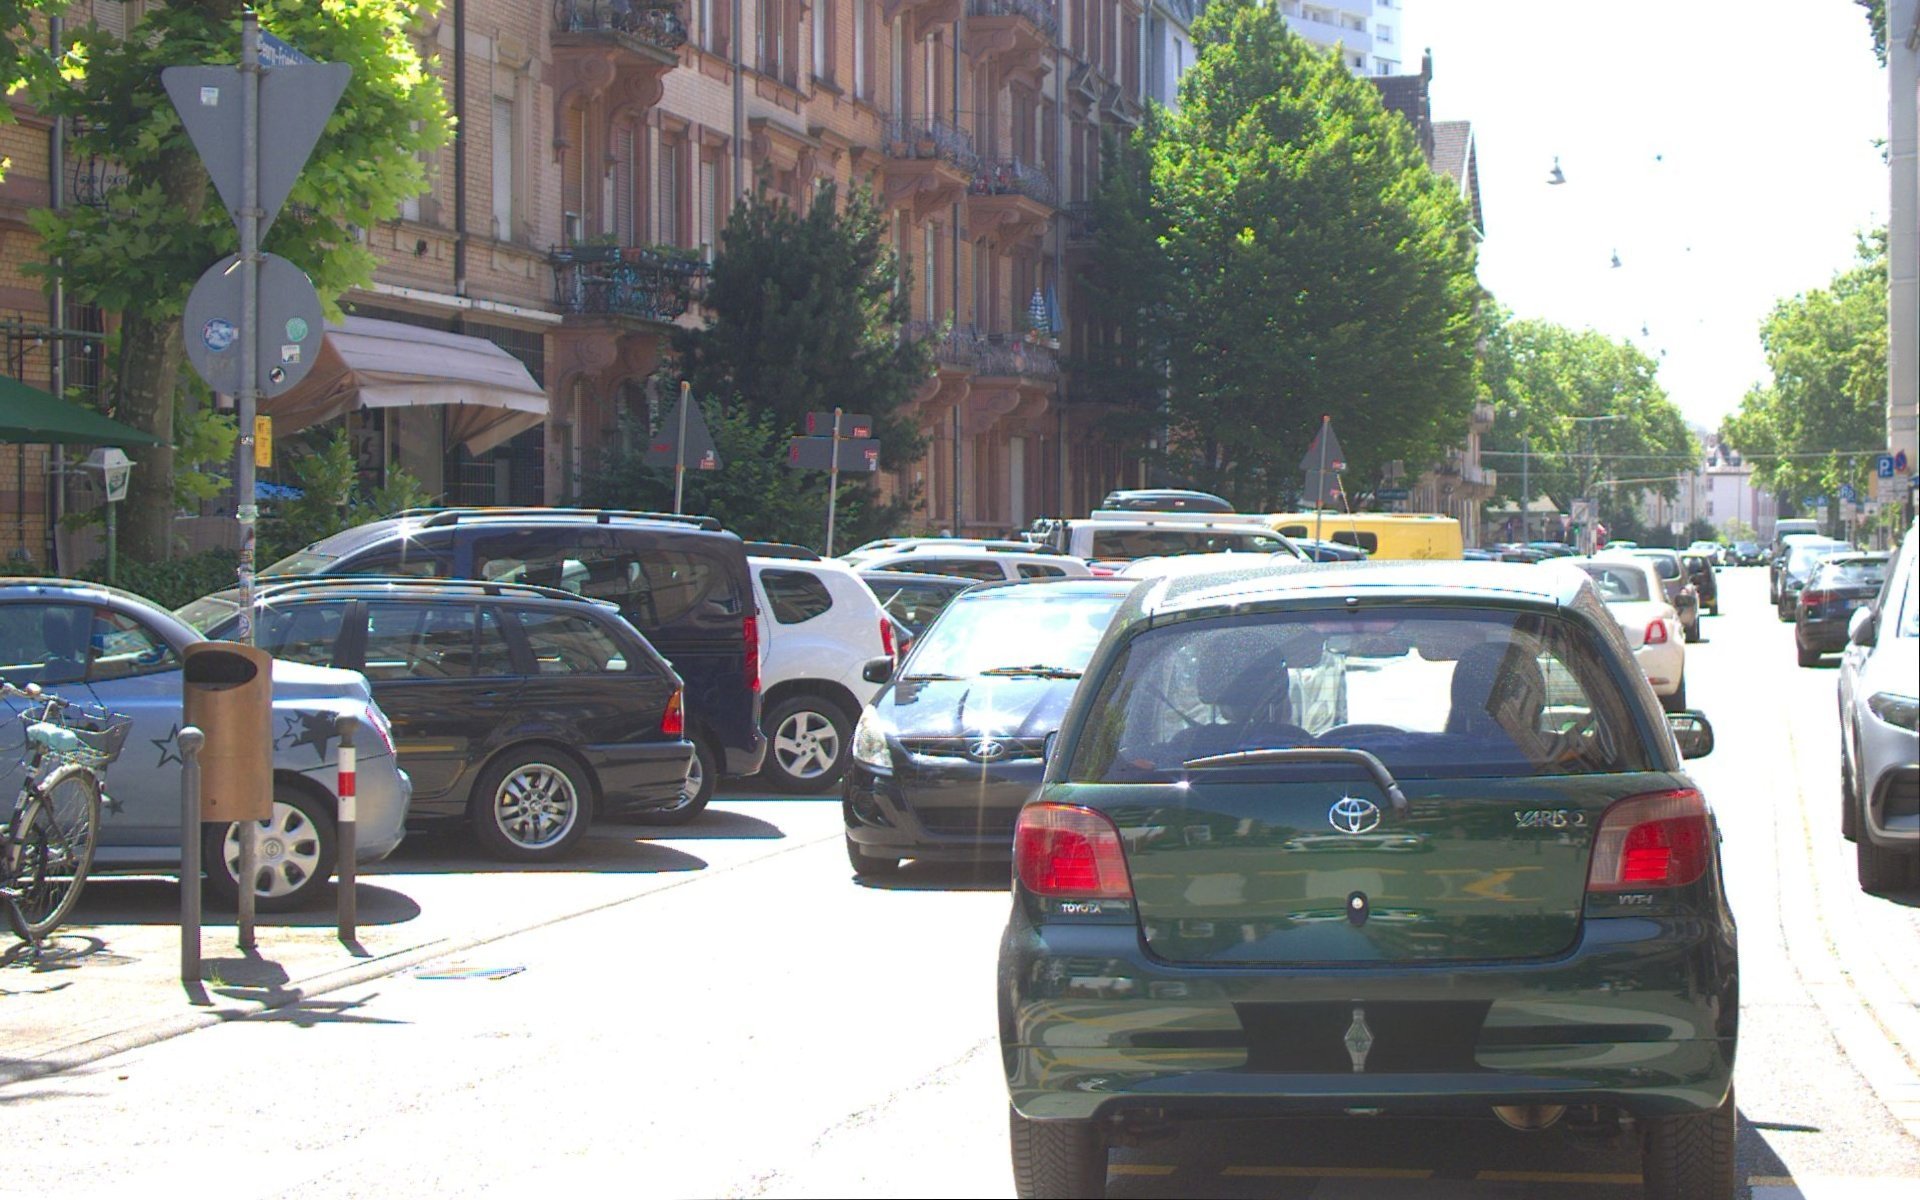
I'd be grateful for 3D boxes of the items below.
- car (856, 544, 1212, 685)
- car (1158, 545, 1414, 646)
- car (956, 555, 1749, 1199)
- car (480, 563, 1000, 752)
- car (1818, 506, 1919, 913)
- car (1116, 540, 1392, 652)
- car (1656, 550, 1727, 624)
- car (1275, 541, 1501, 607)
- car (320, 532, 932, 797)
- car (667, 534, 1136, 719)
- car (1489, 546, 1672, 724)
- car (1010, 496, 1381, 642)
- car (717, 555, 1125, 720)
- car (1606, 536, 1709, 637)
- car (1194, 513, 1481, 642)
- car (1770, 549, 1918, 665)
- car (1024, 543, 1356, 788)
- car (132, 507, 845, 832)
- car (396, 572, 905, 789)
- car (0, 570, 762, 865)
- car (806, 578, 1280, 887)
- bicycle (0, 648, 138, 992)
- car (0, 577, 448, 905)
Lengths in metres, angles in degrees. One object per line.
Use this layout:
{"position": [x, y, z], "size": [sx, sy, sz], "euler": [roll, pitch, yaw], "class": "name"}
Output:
{"position": [0.844, 0.158, 40.558], "size": [3.909, 1.613, 1.866], "euler": [0, 1, -10], "class": "car"}
{"position": [5.363, -0.080, 56.741], "size": [3.861, 1.634, 1.786], "euler": [0, 1, -10], "class": "car"}
{"position": [0.990, 0.656, 8.796], "size": [1.614, 1.480, 3.240], "euler": [-1, 0, 6], "class": "car"}
{"position": [-1.834, 0.438, 28.613], "size": [3.909, 1.465, 1.866], "euler": [0, 1, -25], "class": "car"}
{"position": [5.104, 0.414, 16.464], "size": [1.872, 1.707, 4.501], "euler": [-1, 0, 14], "class": "car"}
{"position": [4.543, -0.078, 53.392], "size": [3.909, 1.702, 1.866], "euler": [0, 1, -10], "class": "car"}
{"position": [16.448, -0.311, 77.389], "size": [1.523, 1.587, 3.262], "euler": [0, 1, 12], "class": "car"}
{"position": [9.467, -0.578, 76.164], "size": [4.556, 1.429, 2.001], "euler": [0, 1, -14], "class": "car"}
{"position": [-2.327, 0.423, 23.570], "size": [3.986, 1.652, 1.760], "euler": [1, 1, -10], "class": "car"}
{"position": [-0.539, 0.209, 31.782], "size": [3.909, 1.613, 1.866], "euler": [0, 1, -27], "class": "car"}
{"position": [5.705, 0.277, 31.392], "size": [1.523, 1.516, 3.262], "euler": [0, 1, 12], "class": "car"}
{"position": [3.291, -0.439, 48.330], "size": [4.772, 1.987, 2.054], "euler": [0, 1, -15], "class": "car"}
{"position": [-0.434, 0.360, 35.145], "size": [3.909, 1.613, 1.866], "euler": [0, 1, -10], "class": "car"}
{"position": [11.417, -0.244, 56.184], "size": [1.523, 1.587, 3.262], "euler": [0, 1, 14], "class": "car"}
{"position": [6.559, -0.398, 59.899], "size": [4.556, 2.180, 2.001], "euler": [0, 1, -14], "class": "car"}
{"position": [11.348, 0.063, 44.308], "size": [1.755, 1.424, 3.998], "euler": [0, 1, 13], "class": "car"}
{"position": [1.845, 0.435, 26.167], "size": [1.755, 1.639, 4.375], "euler": [-3, 0, 13], "class": "car"}
{"position": [-2.867, 0.404, 20.643], "size": [3.985, 1.798, 1.770], "euler": [1, 1, -16], "class": "car"}
{"position": [-2.335, 0.583, 25.582], "size": [3.618, 1.453, 1.625], "euler": [1, 1, -9], "class": "car"}
{"position": [-3.262, 0.605, 18.380], "size": [3.986, 1.407, 1.972], "euler": [1, 1, -19], "class": "car"}
{"position": [0.569, 0.625, 18.521], "size": [1.755, 1.439, 3.998], "euler": [0, 1, 13], "class": "car"}
{"position": [-3.631, 0.808, 13.258], "size": [0.490, 1.169, 1.685], "euler": [2, 1, 0], "class": "bicycle"}
{"position": [-4.484, 0.598, 15.725], "size": [3.985, 1.371, 2.001], "euler": [1, 1, -16], "class": "car"}
